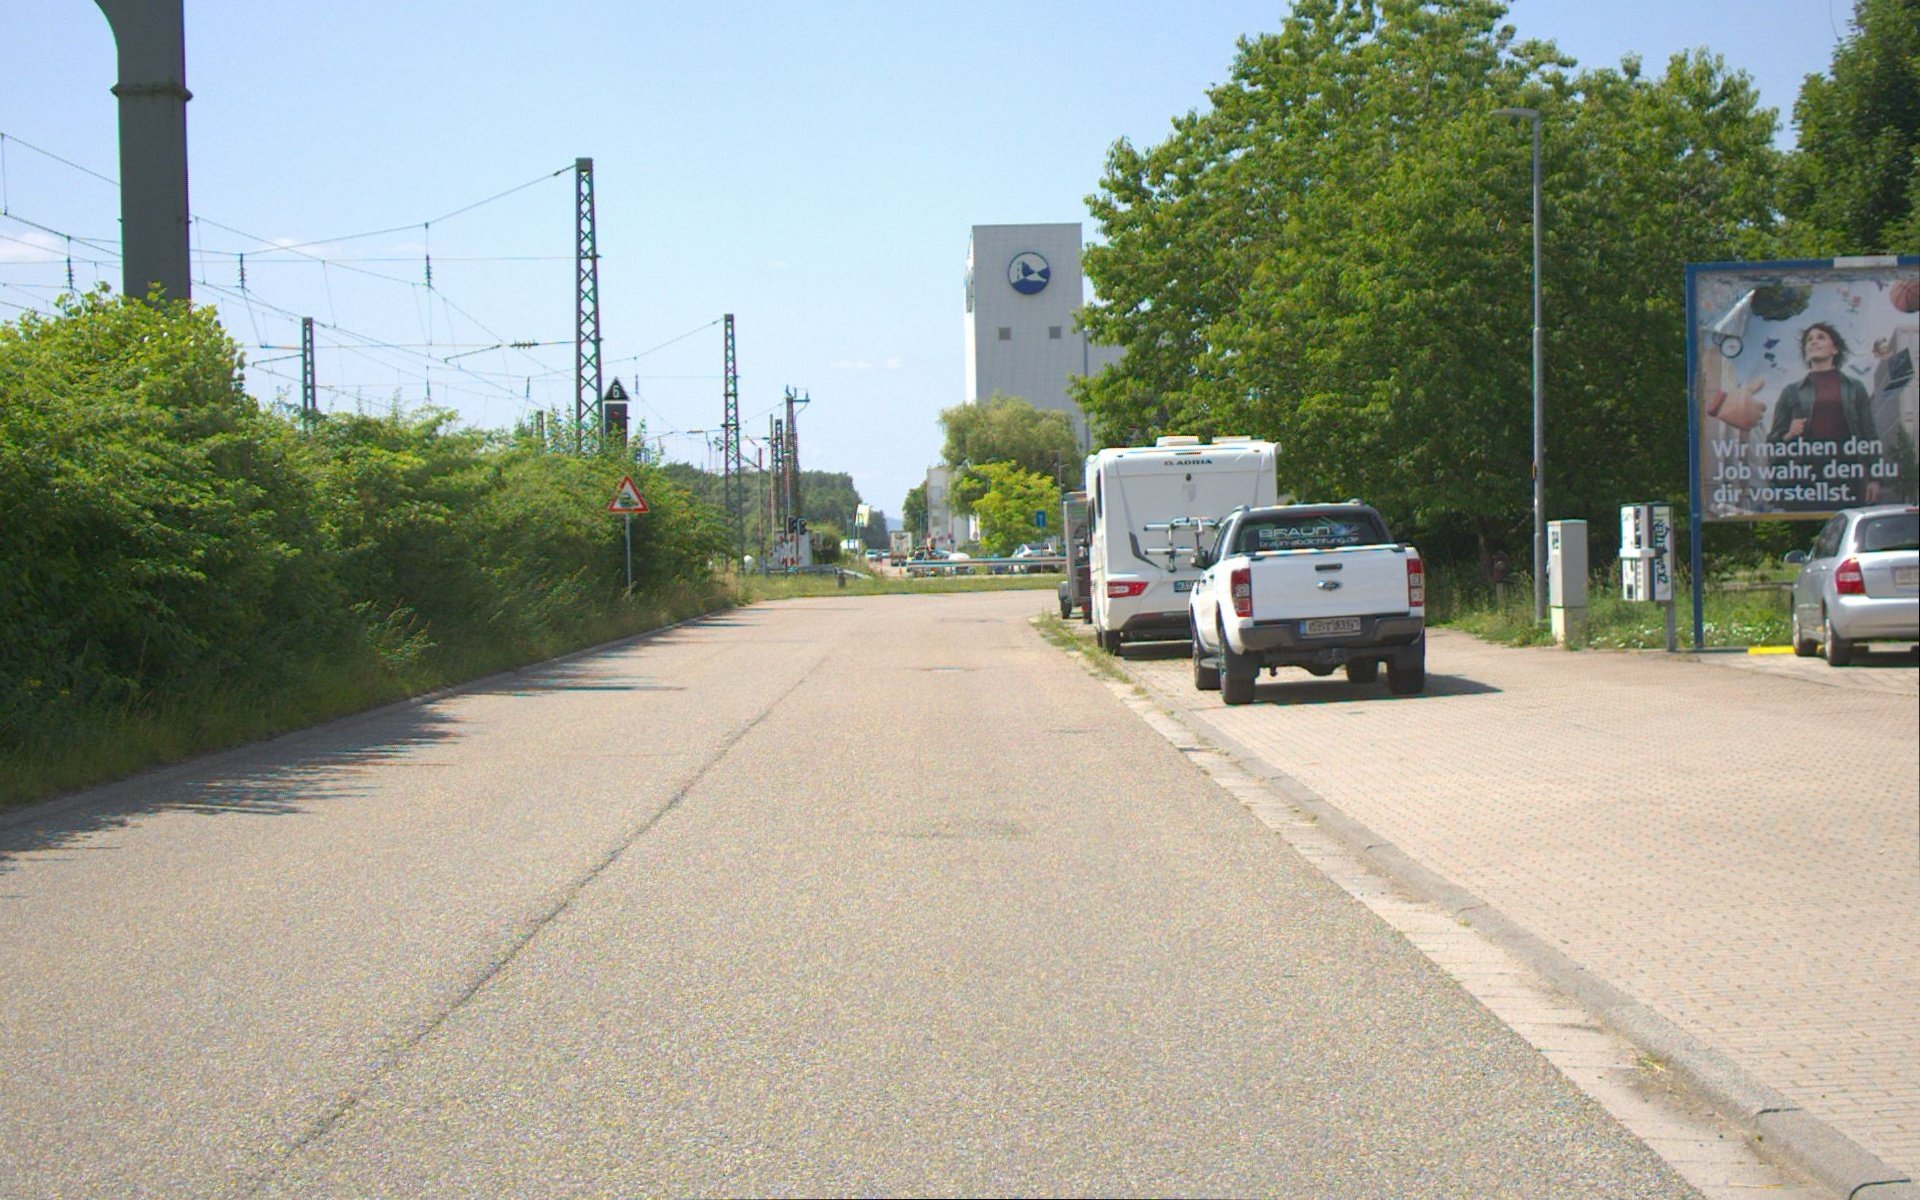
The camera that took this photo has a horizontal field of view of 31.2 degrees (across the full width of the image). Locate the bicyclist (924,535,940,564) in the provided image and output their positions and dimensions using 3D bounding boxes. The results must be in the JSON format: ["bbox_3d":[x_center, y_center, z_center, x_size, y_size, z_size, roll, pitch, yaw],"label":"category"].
[{"bbox_3d":[-1.232,-2.223,150.513,0.511,1.251,0.468,0,1,35],"label":"bicyclist"}]

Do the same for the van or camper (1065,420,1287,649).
[{"bbox_3d":[2.872,-0.904,47.751,2.439,2.817,7.624,-3,1,0],"label":"van or camper"}]

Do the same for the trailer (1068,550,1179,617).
[{"bbox_3d":[3.143,-0.328,66.421,2.005,1.119,4.488,-4,0,3],"label":"trailer"}]

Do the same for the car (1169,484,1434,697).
[{"bbox_3d":[3.201,-0.129,33.273,1.847,1.808,5.425,-3,1,-1],"label":"car"}]

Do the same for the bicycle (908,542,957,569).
[{"bbox_3d":[-1.203,-1.938,150.510,2.144,1.161,0.660,0,2,35],"label":"bicycle"}]

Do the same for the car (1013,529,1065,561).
[{"bbox_3d":[3.879,-2.707,169.757,1.993,1.504,4.455,-1,1,-6],"label":"car"}]

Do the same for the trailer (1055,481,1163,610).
[{"bbox_3d":[3.074,-1.141,71.914,1.919,2.499,4.741,-4,1,0],"label":"trailer"}]

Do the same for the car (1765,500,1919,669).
[{"bbox_3d":[8.882,-0.203,32.728,1.906,1.475,3.999,-3,1,7],"label":"car"}]

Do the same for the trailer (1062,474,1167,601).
[{"bbox_3d":[3.508,-1.421,77.025,1.933,2.635,5.183,-4,1,6],"label":"trailer"}]
